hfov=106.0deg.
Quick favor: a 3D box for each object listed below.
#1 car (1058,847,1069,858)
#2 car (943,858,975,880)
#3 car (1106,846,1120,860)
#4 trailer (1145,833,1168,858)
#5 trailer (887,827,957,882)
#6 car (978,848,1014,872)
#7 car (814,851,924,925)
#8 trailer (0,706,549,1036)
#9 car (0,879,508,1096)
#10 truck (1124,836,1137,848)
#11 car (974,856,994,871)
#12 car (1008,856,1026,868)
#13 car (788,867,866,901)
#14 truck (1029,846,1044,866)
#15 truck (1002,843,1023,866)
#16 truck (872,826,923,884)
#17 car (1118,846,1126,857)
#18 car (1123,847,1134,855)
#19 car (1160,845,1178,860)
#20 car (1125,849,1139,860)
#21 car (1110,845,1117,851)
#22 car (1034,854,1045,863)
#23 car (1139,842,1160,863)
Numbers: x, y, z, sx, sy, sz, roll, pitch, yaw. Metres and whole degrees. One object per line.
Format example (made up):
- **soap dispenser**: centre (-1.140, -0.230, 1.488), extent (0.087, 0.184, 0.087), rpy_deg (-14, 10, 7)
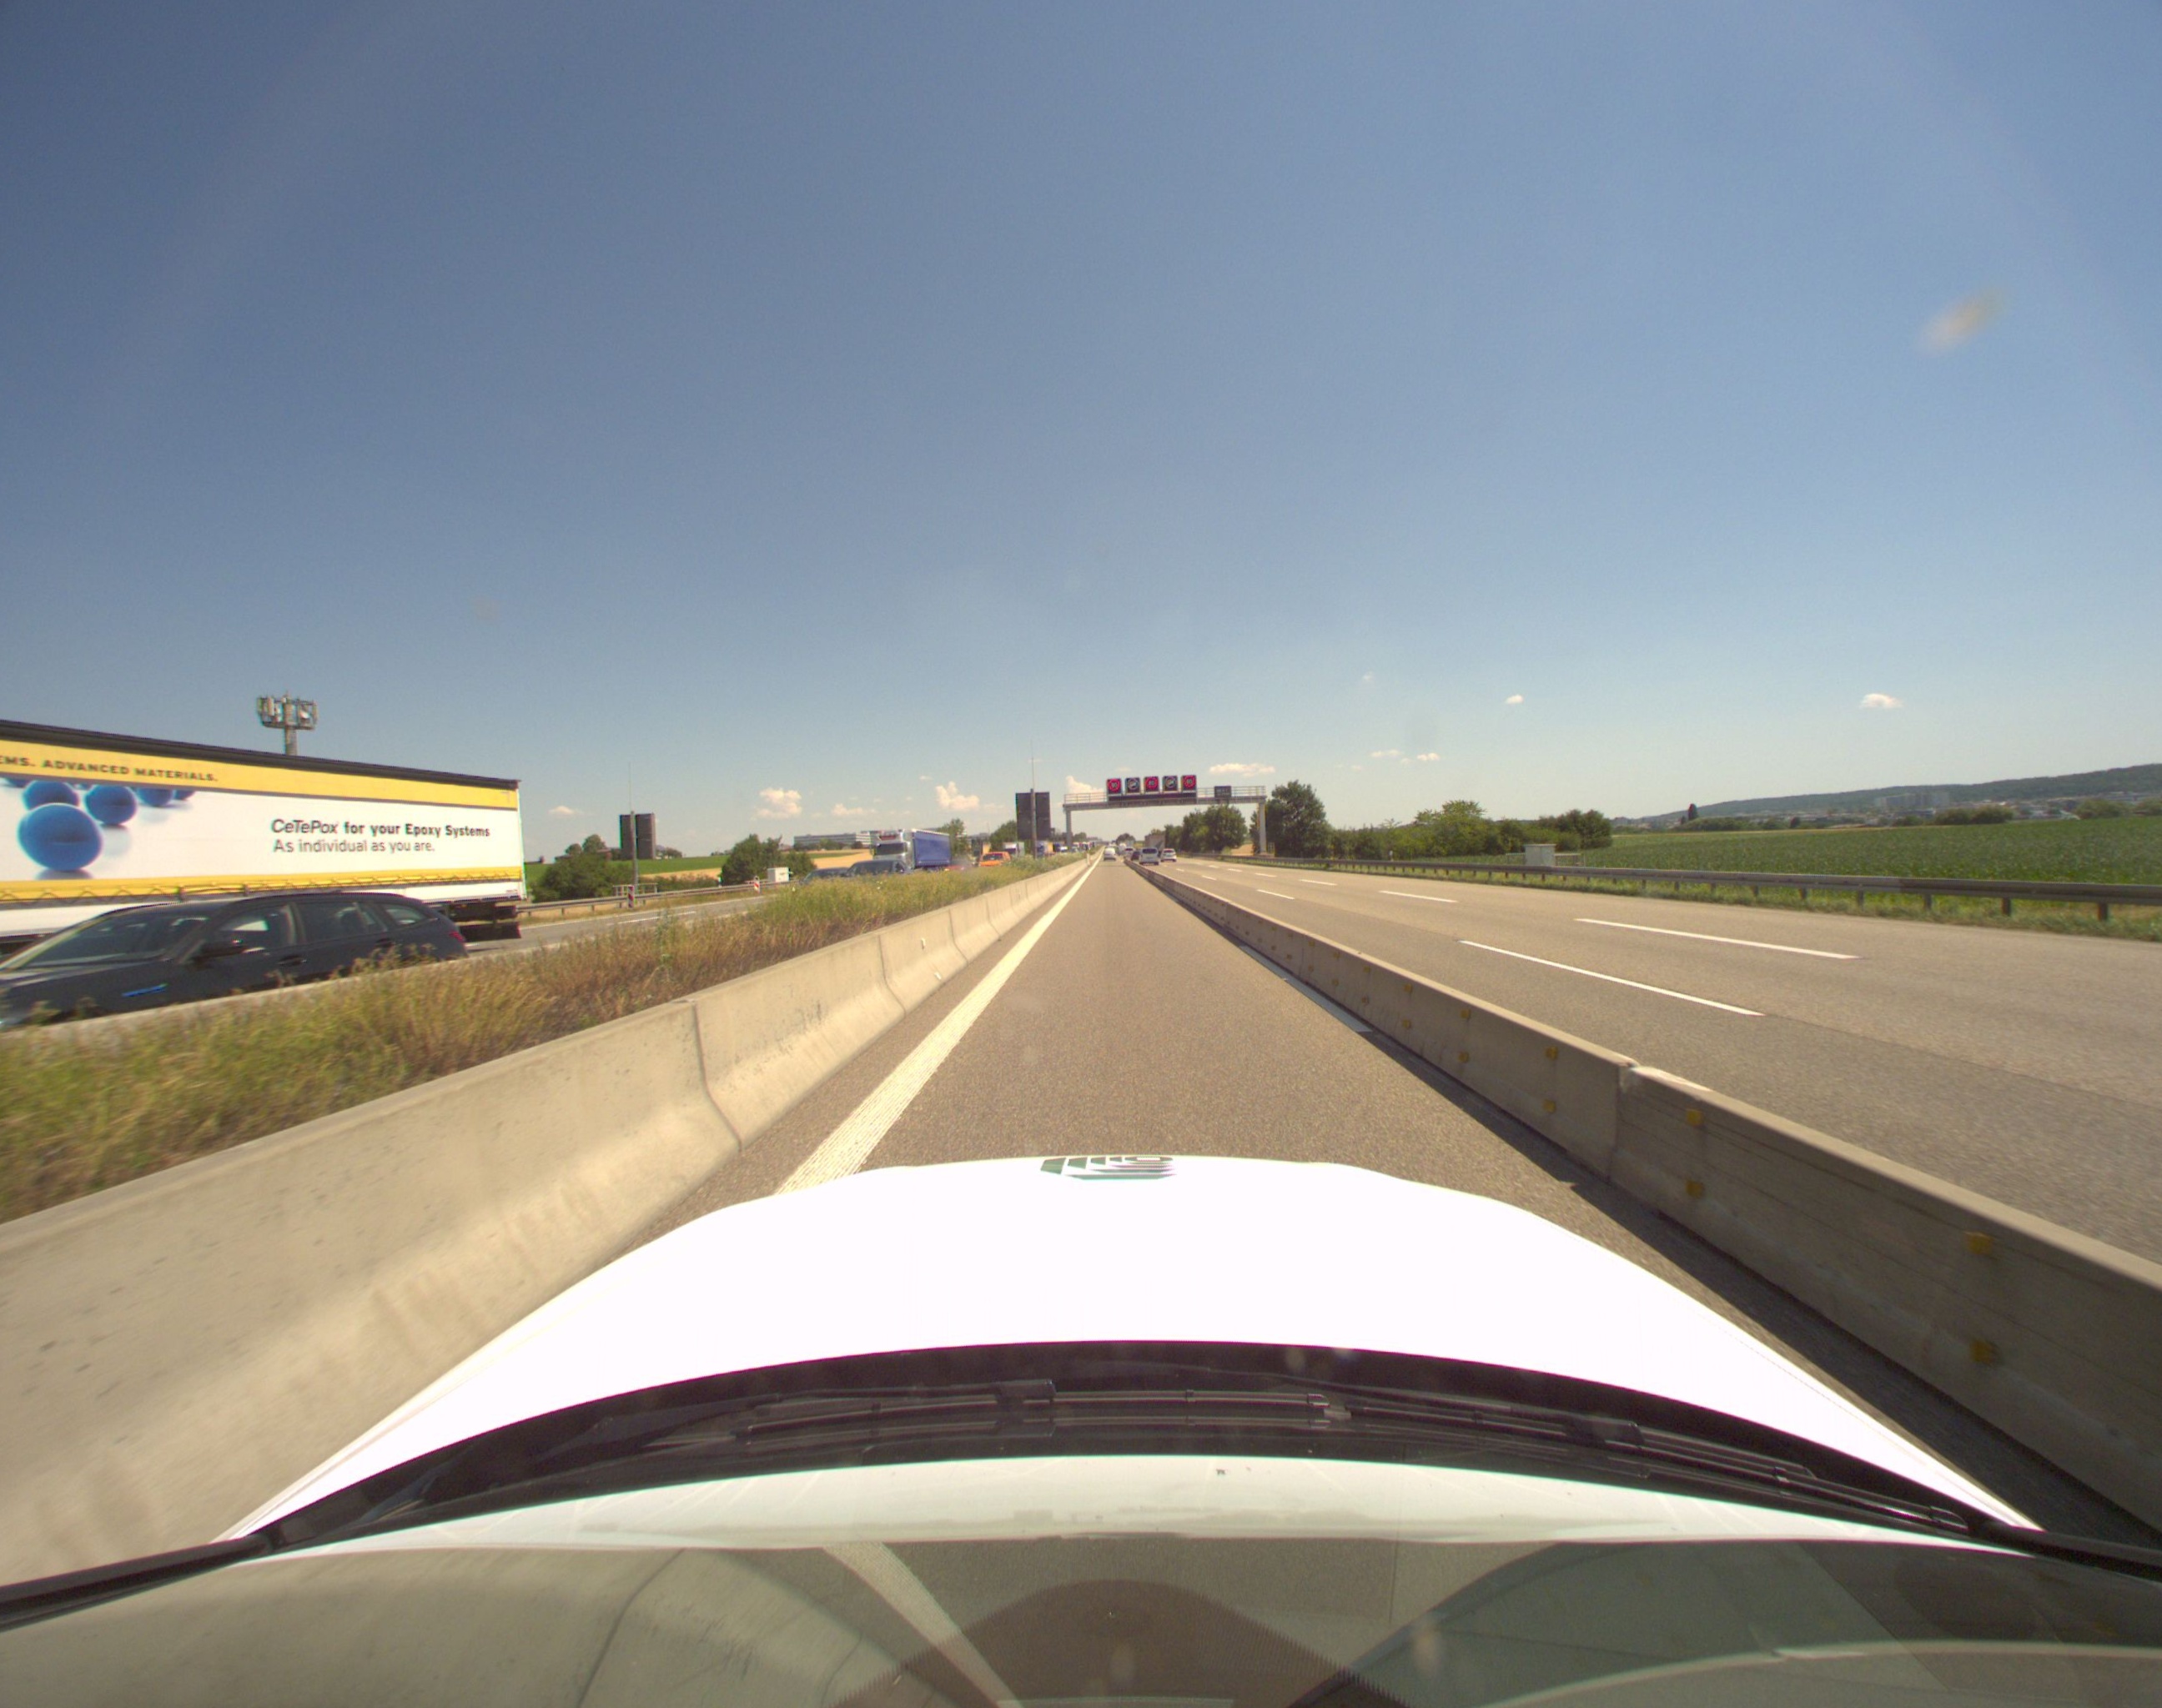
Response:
- **car**: centre (-3.371, -0.335, 158.898), extent (1.986, 1.946, 4.796), rpy_deg (-2, 0, 1)
- **car**: centre (-9.425, 1.154, 63.170), extent (1.582, 1.508, 4.231), rpy_deg (-2, 0, 2)
- **car**: centre (4.645, -0.097, 118.650), extent (1.986, 2.014, 4.001), rpy_deg (-2, -1, 2)
- **trailer**: centre (12.843, -1.440, 138.913), extent (3.265, 3.967, 9.115), rpy_deg (-2, -1, 2)
- **trailer**: centre (-13.131, 0.031, 68.729), extent (2.377, 4.086, 14.105), rpy_deg (-2, 0, 2)
- **car**: centre (-6.007, 0.446, 57.854), extent (1.887, 1.578, 4.937), rpy_deg (-1, -1, 1)
- **car**: centre (-6.523, 0.967, 25.651), extent (1.985, 2.013, 4.688), rpy_deg (-2, 0, 3)
- **trailer**: centre (-14.851, 0.252, 13.134), extent (2.799, 4.128, 14.134), rpy_deg (-3, 0, 1)
- **car**: centre (-7.811, 0.937, 7.296), extent (1.772, 1.335, 4.930), rpy_deg (-1, -1, 1)
- **truck**: centre (15.923, -3.837, 263.814), extent (3.802, 3.904, 9.583), rpy_deg (-2, 0, 1)
- **car**: centre (-11.898, 1.132, 100.038), extent (1.826, 1.719, 4.081), rpy_deg (-4, 0, 1)
- **car**: centre (-8.048, 0.929, 102.340), extent (1.827, 1.324, 4.279), rpy_deg (-4, 0, -1)
- **car**: centre (-10.352, 1.202, 33.534), extent (1.741, 1.266, 4.435), rpy_deg (-1, -1, 1)
- **truck**: centre (-9.991, 0.403, 184.307), extent (2.583, 4.238, 4.856), rpy_deg (-5, 0, 1)
- **truck**: centre (-11.002, 0.070, 130.992), extent (2.687, 3.587, 4.003), rpy_deg (-4, 0, 3)
- **truck**: centre (-13.483, 0.062, 60.149), extent (2.402, 4.086, 4.662), rpy_deg (-2, 0, 2)
- **car**: centre (9.570, -0.568, 190.512), extent (1.767, 2.392, 4.001), rpy_deg (-2, -1, 2)
- **car**: centre (8.454, -0.528, 146.104), extent (1.767, 1.447, 4.001), rpy_deg (-2, -1, 2)
- **car**: centre (11.098, -0.172, 102.704), extent (1.986, 1.794, 4.001), rpy_deg (-2, -1, 2)
- **car**: centre (6.911, 0.051, 111.613), extent (1.767, 1.447, 4.001), rpy_deg (-2, -1, 2)
- **car**: centre (10.121, -1.787, 255.550), extent (1.986, 1.835, 4.002), rpy_deg (-1, 0, 2)
- **car**: centre (-6.871, 0.782, 136.316), extent (1.553, 1.442, 3.838), rpy_deg (-1, 0, 1)
- **car**: centre (7.174, -0.133, 85.574), extent (1.986, 2.120, 4.001), rpy_deg (-2, -1, 2)
